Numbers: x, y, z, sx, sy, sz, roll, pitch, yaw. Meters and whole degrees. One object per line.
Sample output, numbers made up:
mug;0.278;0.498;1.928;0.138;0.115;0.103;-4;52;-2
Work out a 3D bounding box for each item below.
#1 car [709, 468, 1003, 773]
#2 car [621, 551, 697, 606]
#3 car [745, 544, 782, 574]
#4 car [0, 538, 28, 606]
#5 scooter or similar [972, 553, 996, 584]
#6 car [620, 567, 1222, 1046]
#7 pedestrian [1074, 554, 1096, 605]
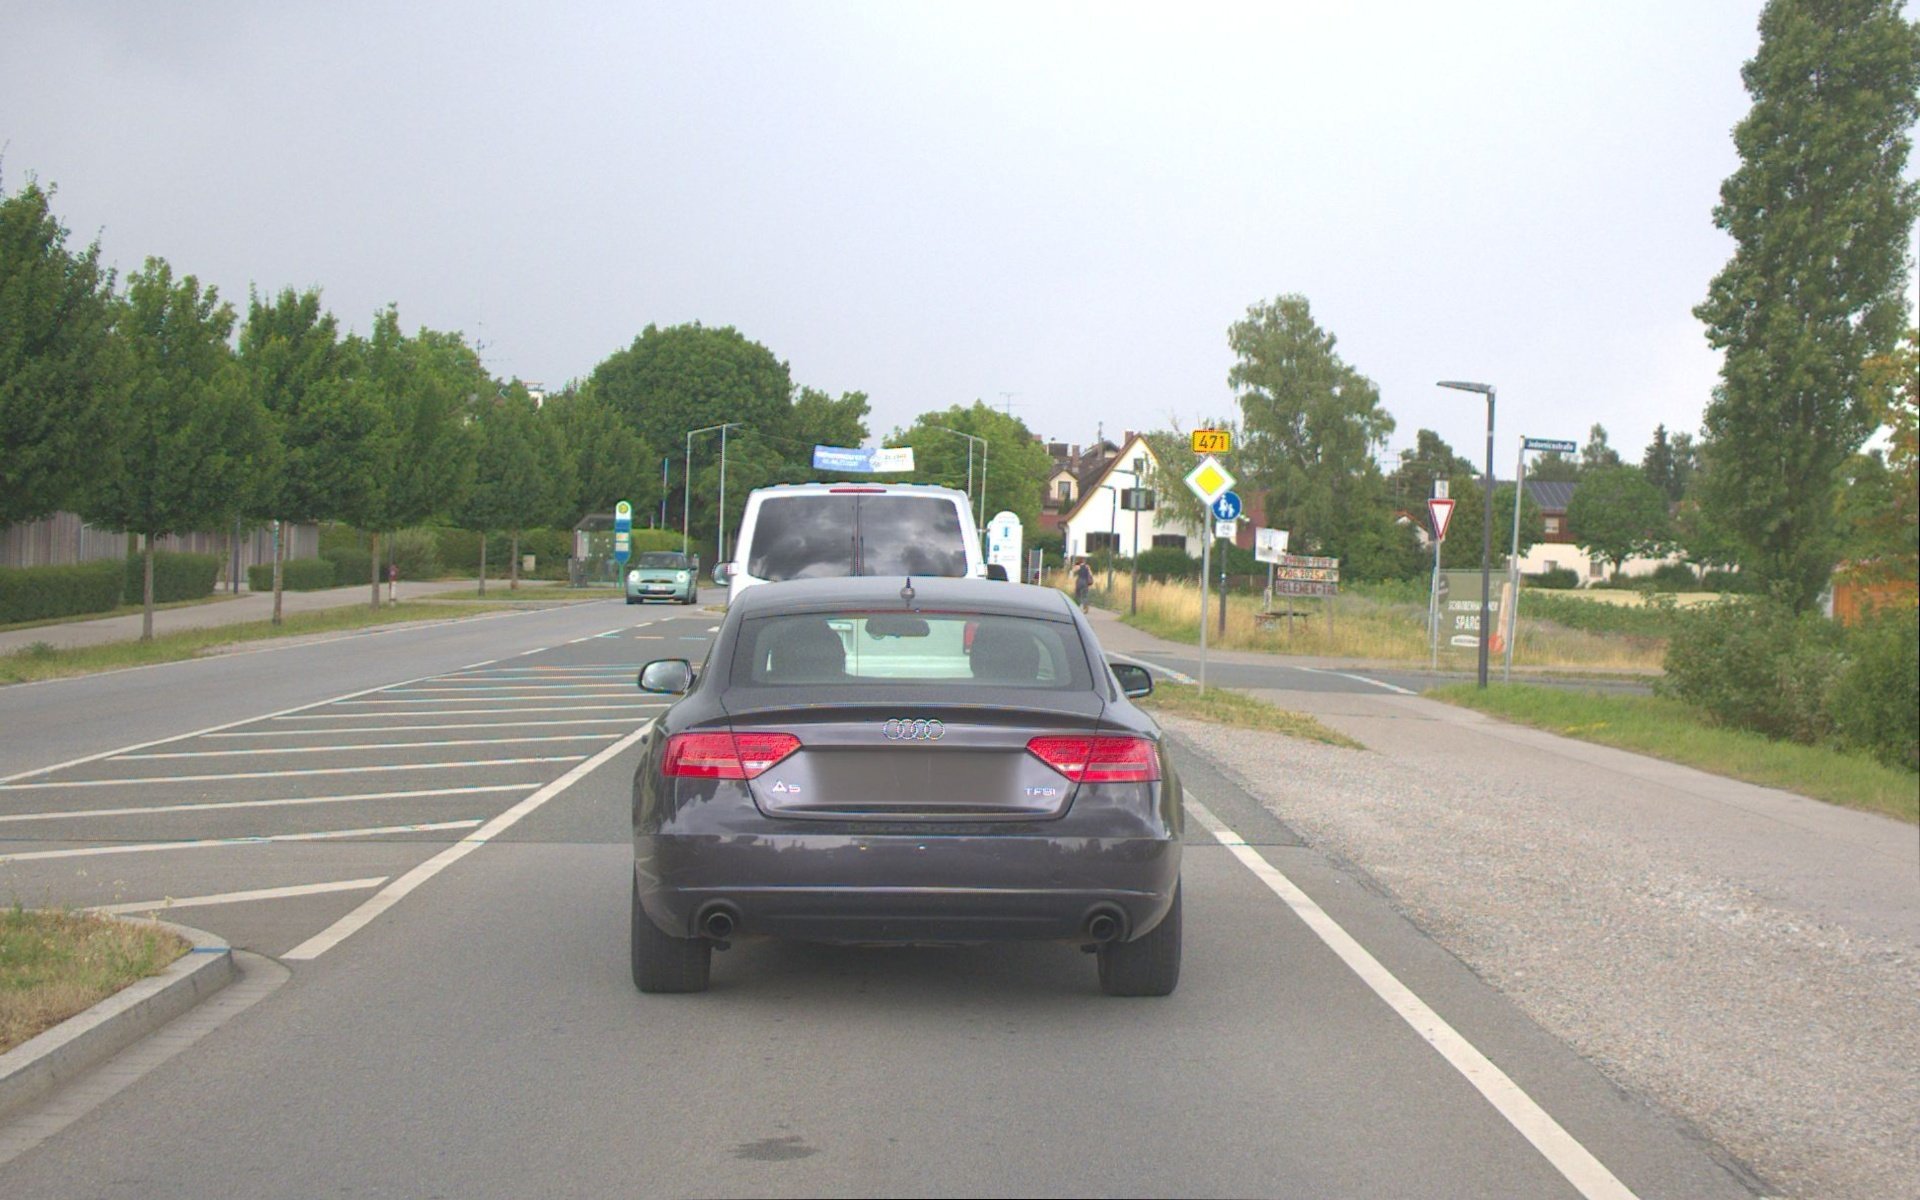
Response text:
car;-0.759;0.096;24.506;1.825;1.907;4.001;3;1;-2
car;-8.235;-0.615;94.341;1.770;1.438;4.000;0;1;-1
car;-9.442;-1.997;165.580;1.653;1.424;3.602;0;1;-1
car;-24.452;-0.773;81.652;3.987;1.551;2.000;3;1;1
scooter or similar;0.871;-1.141;124.308;0.848;1.100;1.094;0;1;0
car;-0.307;0.599;12.591;1.825;1.384;4.388;0;1;-5
pedestrian;3.754;-0.624;103.298;0.623;1.519;0.680;0;1;-1
